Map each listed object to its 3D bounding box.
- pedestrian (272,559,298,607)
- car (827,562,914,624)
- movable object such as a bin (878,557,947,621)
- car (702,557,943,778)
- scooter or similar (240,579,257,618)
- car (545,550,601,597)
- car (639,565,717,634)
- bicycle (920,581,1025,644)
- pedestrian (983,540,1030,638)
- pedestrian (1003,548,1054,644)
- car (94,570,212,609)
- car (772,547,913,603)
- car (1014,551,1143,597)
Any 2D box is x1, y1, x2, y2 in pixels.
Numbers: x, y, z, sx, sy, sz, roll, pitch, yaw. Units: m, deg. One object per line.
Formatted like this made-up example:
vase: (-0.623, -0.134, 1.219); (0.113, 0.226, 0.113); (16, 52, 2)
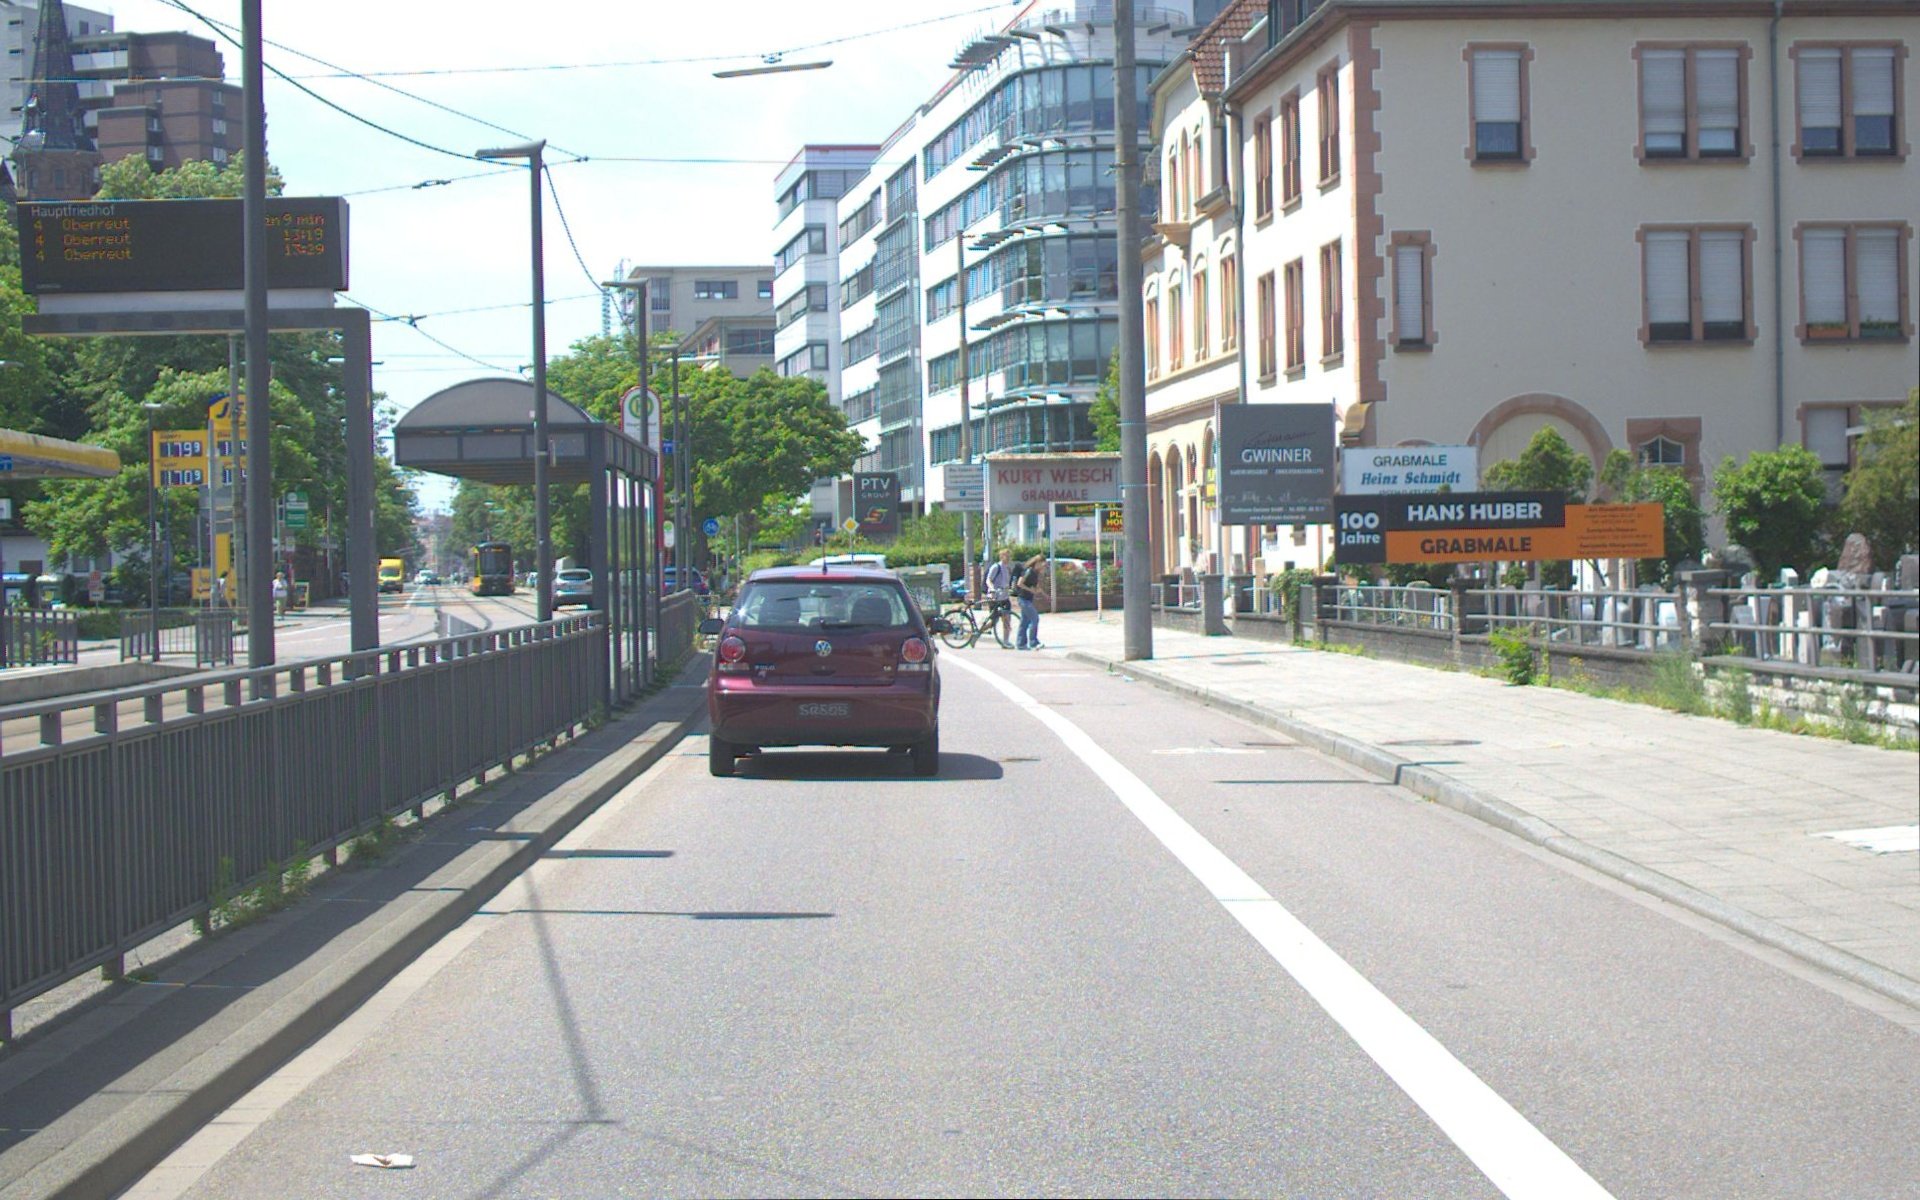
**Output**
pedestrian: (-24.028, -0.615, 122.412); (0.625, 1.685, 0.722); (-1, 1, -38)
car: (-2.464, -0.192, 93.409); (1.772, 1.543, 4.468); (-3, 0, -8)
movable object such as a bin: (-1.134, -0.270, 82.158); (1.391, 1.450, 1.139); (-3, 1, -12)
car: (-0.959, 0.434, 25.239); (1.619, 1.481, 4.000); (0, 1, -1)
scooter or similar: (-22.310, -0.060, 107.834); (0.518, 1.196, 1.377); (0, 1, -11)
car: (-14.973, -1.048, 132.944); (1.993, 1.733, 4.001); (-2, 1, -8)
car: (-8.475, -0.035, 103.142); (1.993, 2.007, 4.001); (0, 1, -9)
bicycle: (0.229, 0.224, 62.264); (1.804, 1.123, 0.589); (-1, 1, 22)
pedestrian: (0.847, -0.198, 62.563); (0.688, 1.766, 0.502); (-1, 1, 24)
pedestrian: (1.216, -0.070, 60.871); (0.824, 1.685, 0.589); (-1, 1, 7)
car: (-31.352, -0.421, 133.682); (1.932, 1.483, 4.443); (1, 1, 31)
car: (-3.950, -0.841, 115.418); (4.537, 1.793, 2.000); (-1, 1, -7)
car: (4.029, -0.881, 117.279); (4.148, 1.454, 1.818); (-1, 1, -5)
